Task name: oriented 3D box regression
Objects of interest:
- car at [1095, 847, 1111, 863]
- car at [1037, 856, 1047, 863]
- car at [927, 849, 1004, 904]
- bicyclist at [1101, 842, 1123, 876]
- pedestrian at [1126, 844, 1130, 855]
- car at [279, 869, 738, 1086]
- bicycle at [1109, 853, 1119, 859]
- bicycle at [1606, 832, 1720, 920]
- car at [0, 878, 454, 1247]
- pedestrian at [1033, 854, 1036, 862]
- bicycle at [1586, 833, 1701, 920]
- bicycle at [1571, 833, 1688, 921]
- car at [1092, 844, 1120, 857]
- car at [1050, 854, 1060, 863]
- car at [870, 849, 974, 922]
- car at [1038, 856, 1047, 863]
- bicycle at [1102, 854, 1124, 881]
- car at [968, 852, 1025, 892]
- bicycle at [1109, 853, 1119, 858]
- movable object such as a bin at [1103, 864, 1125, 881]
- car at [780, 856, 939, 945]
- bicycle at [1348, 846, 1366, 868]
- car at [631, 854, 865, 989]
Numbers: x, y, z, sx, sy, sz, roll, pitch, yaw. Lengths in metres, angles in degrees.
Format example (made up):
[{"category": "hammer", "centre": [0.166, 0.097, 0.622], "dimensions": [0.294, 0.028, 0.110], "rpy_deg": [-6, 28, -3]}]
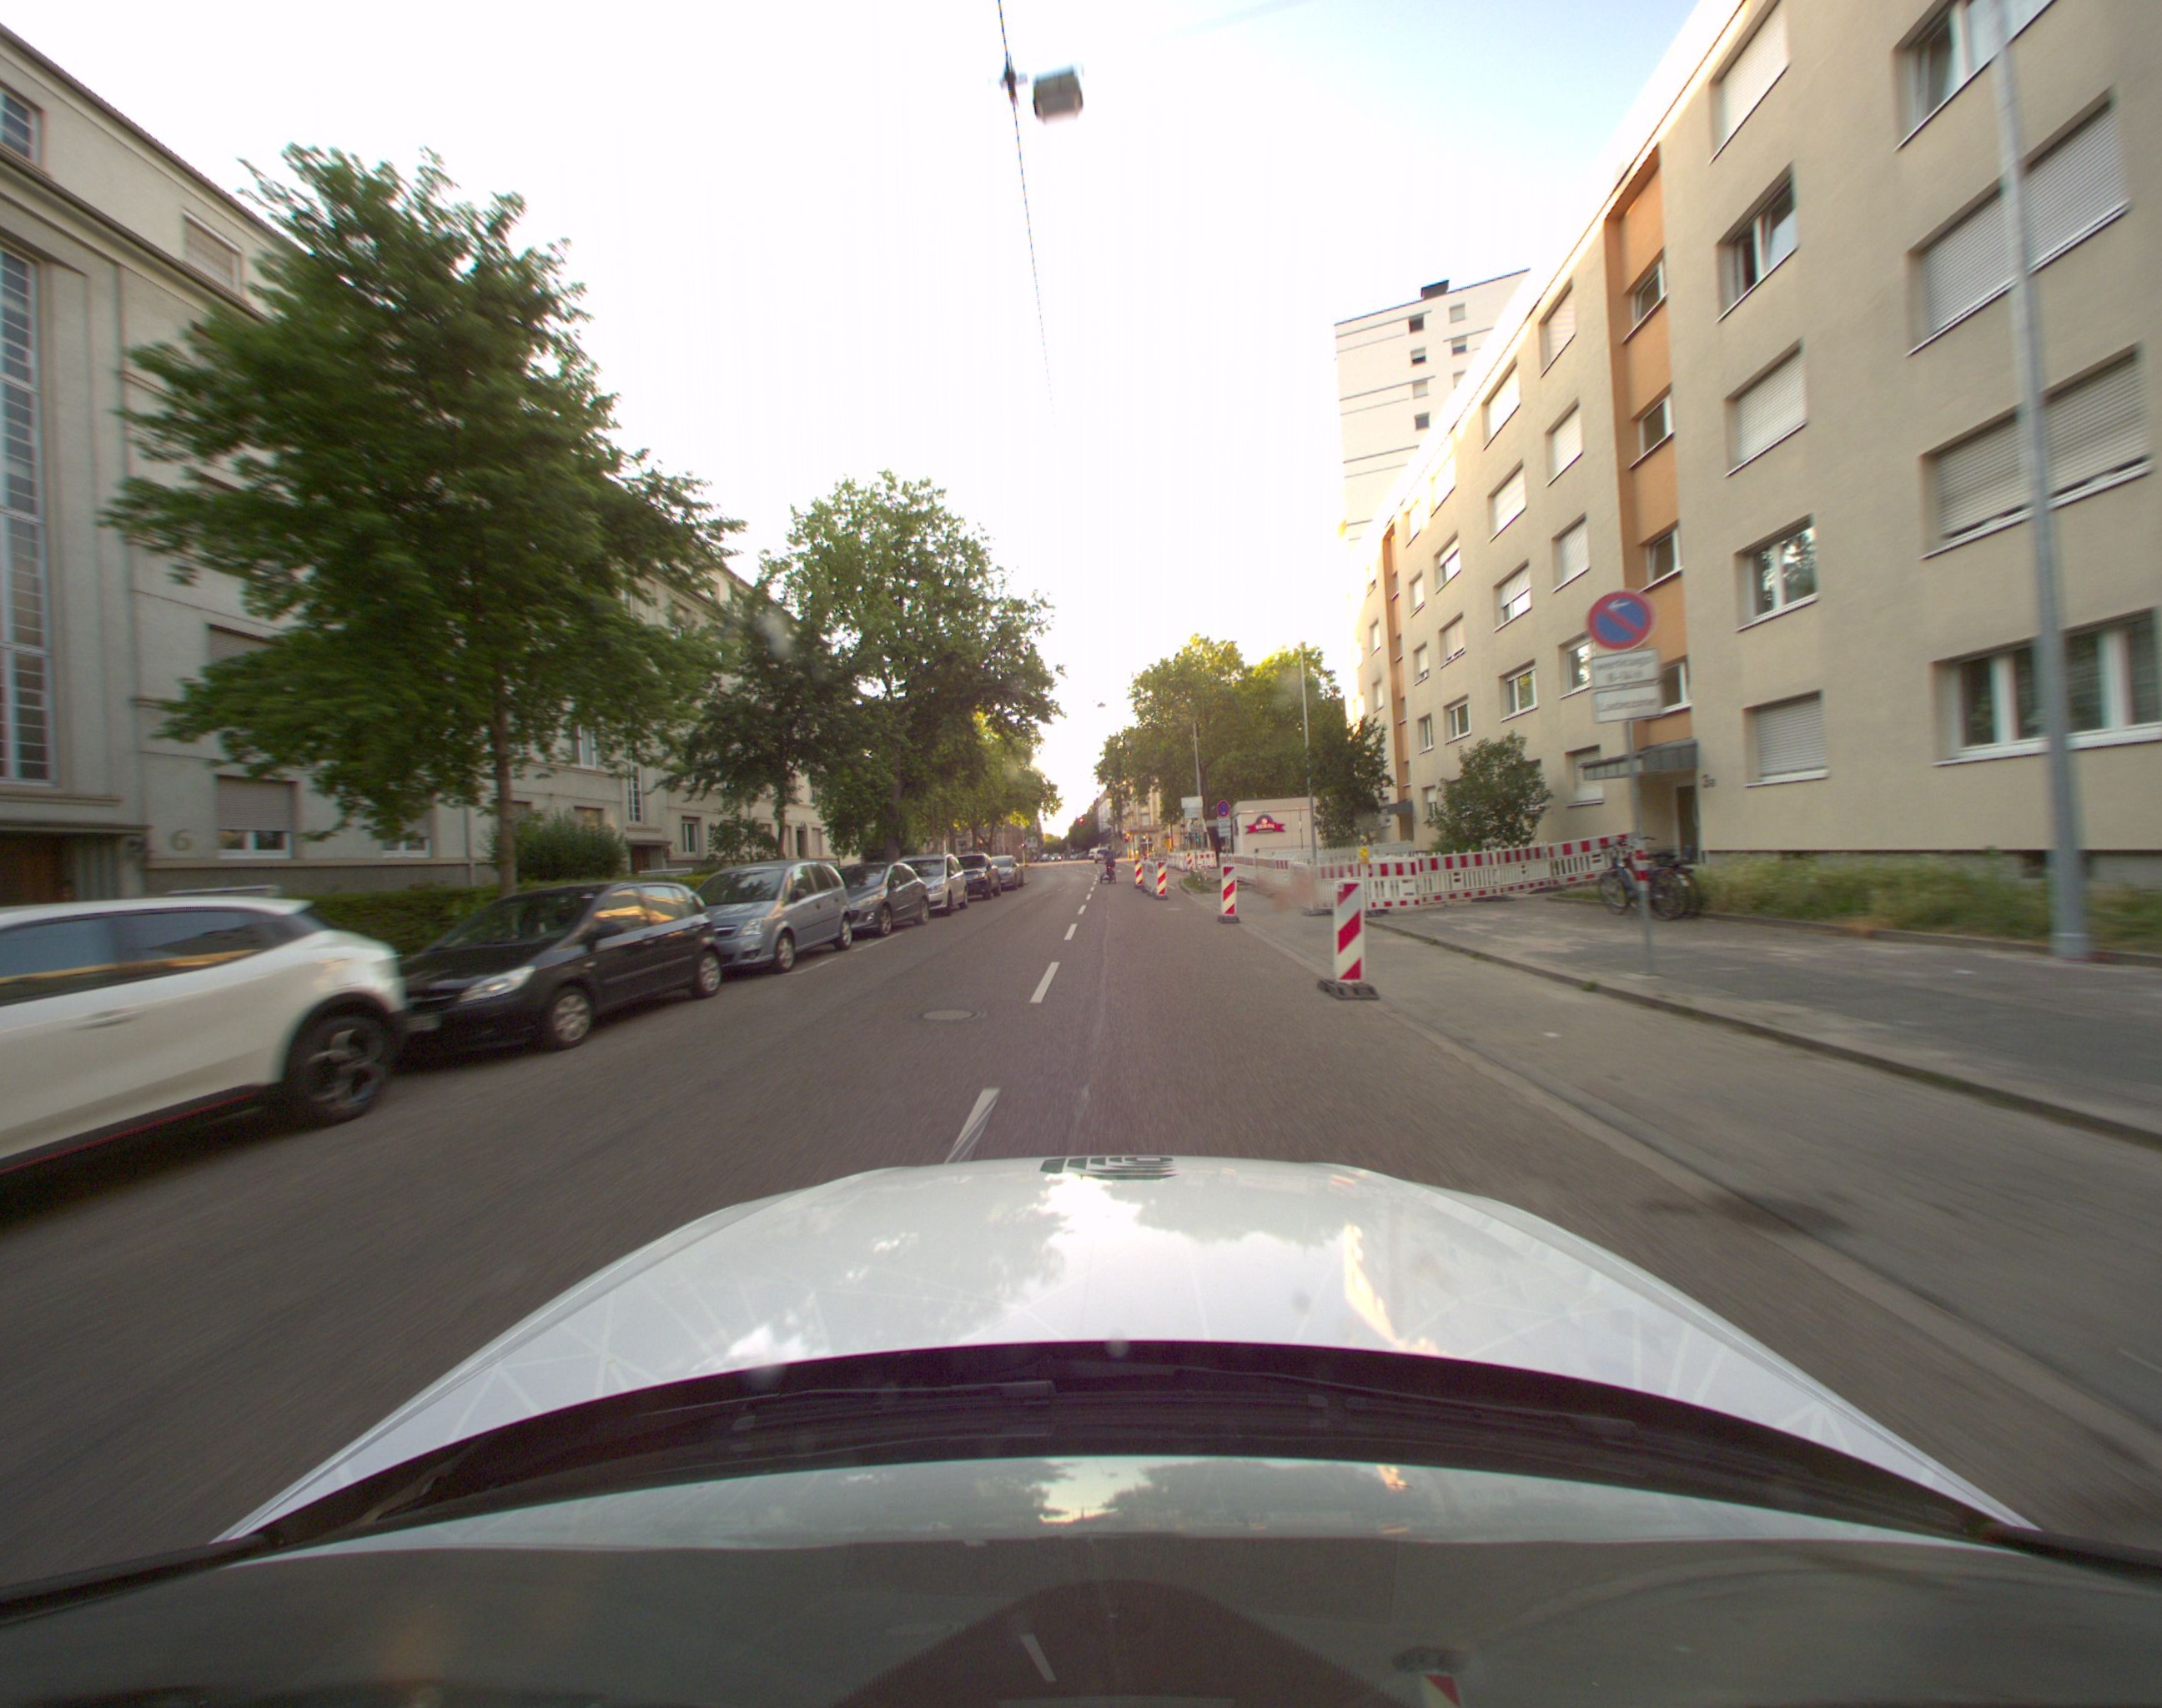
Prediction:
[{"category": "car", "centre": [2.757, 0.125, 101.981], "dimensions": [1.860, 1.815, 4.000], "rpy_deg": [-4, 0, 1]}, {"category": "car", "centre": [-9.195, 1.213, 190.943], "dimensions": [1.991, 1.651, 3.813], "rpy_deg": [-1, 0, -6]}, {"category": "car", "centre": [-4.178, 0.766, 30.293], "dimensions": [1.946, 1.718, 4.772], "rpy_deg": [-5, 0, 1]}, {"category": "bicyclist", "centre": [1.508, 0.259, 40.099], "dimensions": [0.936, 1.581, 1.146], "rpy_deg": [-6, -1, 1]}, {"category": "pedestrian", "centre": [8.496, -0.792, 147.945], "dimensions": [0.590, 1.886, 0.648], "rpy_deg": [-3, 0, 4]}, {"category": "car", "centre": [-5.307, 1.005, 8.306], "dimensions": [1.700, 1.452, 3.845], "rpy_deg": [-6, 0, 2]}, {"category": "bicycle", "centre": [6.371, 0.417, 158.028], "dimensions": [1.908, 0.968, 0.546], "rpy_deg": [-3, 0, 0]}, {"category": "bicycle", "centre": [8.825, 0.310, 12.441], "dimensions": [0.396, 1.222, 1.826], "rpy_deg": [-3, 0, 0]}, {"category": "car", "centre": [-5.550, 1.024, 3.974], "dimensions": [1.585, 1.538, 4.205], "rpy_deg": [-6, 0, 0]}, {"category": "pedestrian", "centre": [-10.621, 0.948, 187.263], "dimensions": [0.590, 1.886, 0.554], "rpy_deg": [-3, 0, 4]}, {"category": "bicycle", "centre": [8.577, 0.318, 12.515], "dimensions": [0.396, 1.222, 1.911], "rpy_deg": [-3, 0, 0]}, {"category": "bicycle", "centre": [8.301, 0.326, 12.431], "dimensions": [0.450, 1.222, 1.911], "rpy_deg": [-3, 0, 0]}, {"category": "car", "centre": [5.096, -0.693, 164.302], "dimensions": [5.855, 2.287, 2.047], "rpy_deg": [-3, 0, -41]}, {"category": "car", "centre": [-5.381, 0.929, 169.038], "dimensions": [1.779, 1.651, 3.813], "rpy_deg": [-1, 0, -6]}, {"category": "car", "centre": [-4.338, 0.807, 23.037], "dimensions": [1.840, 1.690, 4.859], "rpy_deg": [-5, 0, 0]}, {"category": "car", "centre": [-9.446, 1.251, 198.694], "dimensions": [1.991, 1.651, 3.813], "rpy_deg": [-1, 0, -6]}, {"category": "bicycle", "centre": [1.547, 0.656, 40.075], "dimensions": [0.936, 1.172, 2.359], "rpy_deg": [-6, -1, 1]}, {"category": "car", "centre": [-3.872, 0.787, 38.131], "dimensions": [1.946, 1.616, 4.607], "rpy_deg": [-5, 0, 2]}, {"category": "bicycle", "centre": [6.329, 0.302, 157.749], "dimensions": [1.908, 0.968, 0.546], "rpy_deg": [-3, 0, 0]}, {"category": "movable object such as a bin", "centre": [1.549, 0.880, 38.407], "dimensions": [0.936, 0.689, 0.993], "rpy_deg": [-6, -1, 1]}, {"category": "car", "centre": [-4.586, 0.888, 17.578], "dimensions": [1.724, 1.497, 4.278], "rpy_deg": [-5, 0, 6]}, {"category": "bicycle", "centre": [12.684, 0.126, 37.456], "dimensions": [0.539, 0.968, 1.825], "rpy_deg": [-3, 0, 25]}, {"category": "car", "centre": [-4.926, 0.885, 12.778], "dimensions": [1.701, 1.600, 4.119], "rpy_deg": [-6, 0, 2]}]
